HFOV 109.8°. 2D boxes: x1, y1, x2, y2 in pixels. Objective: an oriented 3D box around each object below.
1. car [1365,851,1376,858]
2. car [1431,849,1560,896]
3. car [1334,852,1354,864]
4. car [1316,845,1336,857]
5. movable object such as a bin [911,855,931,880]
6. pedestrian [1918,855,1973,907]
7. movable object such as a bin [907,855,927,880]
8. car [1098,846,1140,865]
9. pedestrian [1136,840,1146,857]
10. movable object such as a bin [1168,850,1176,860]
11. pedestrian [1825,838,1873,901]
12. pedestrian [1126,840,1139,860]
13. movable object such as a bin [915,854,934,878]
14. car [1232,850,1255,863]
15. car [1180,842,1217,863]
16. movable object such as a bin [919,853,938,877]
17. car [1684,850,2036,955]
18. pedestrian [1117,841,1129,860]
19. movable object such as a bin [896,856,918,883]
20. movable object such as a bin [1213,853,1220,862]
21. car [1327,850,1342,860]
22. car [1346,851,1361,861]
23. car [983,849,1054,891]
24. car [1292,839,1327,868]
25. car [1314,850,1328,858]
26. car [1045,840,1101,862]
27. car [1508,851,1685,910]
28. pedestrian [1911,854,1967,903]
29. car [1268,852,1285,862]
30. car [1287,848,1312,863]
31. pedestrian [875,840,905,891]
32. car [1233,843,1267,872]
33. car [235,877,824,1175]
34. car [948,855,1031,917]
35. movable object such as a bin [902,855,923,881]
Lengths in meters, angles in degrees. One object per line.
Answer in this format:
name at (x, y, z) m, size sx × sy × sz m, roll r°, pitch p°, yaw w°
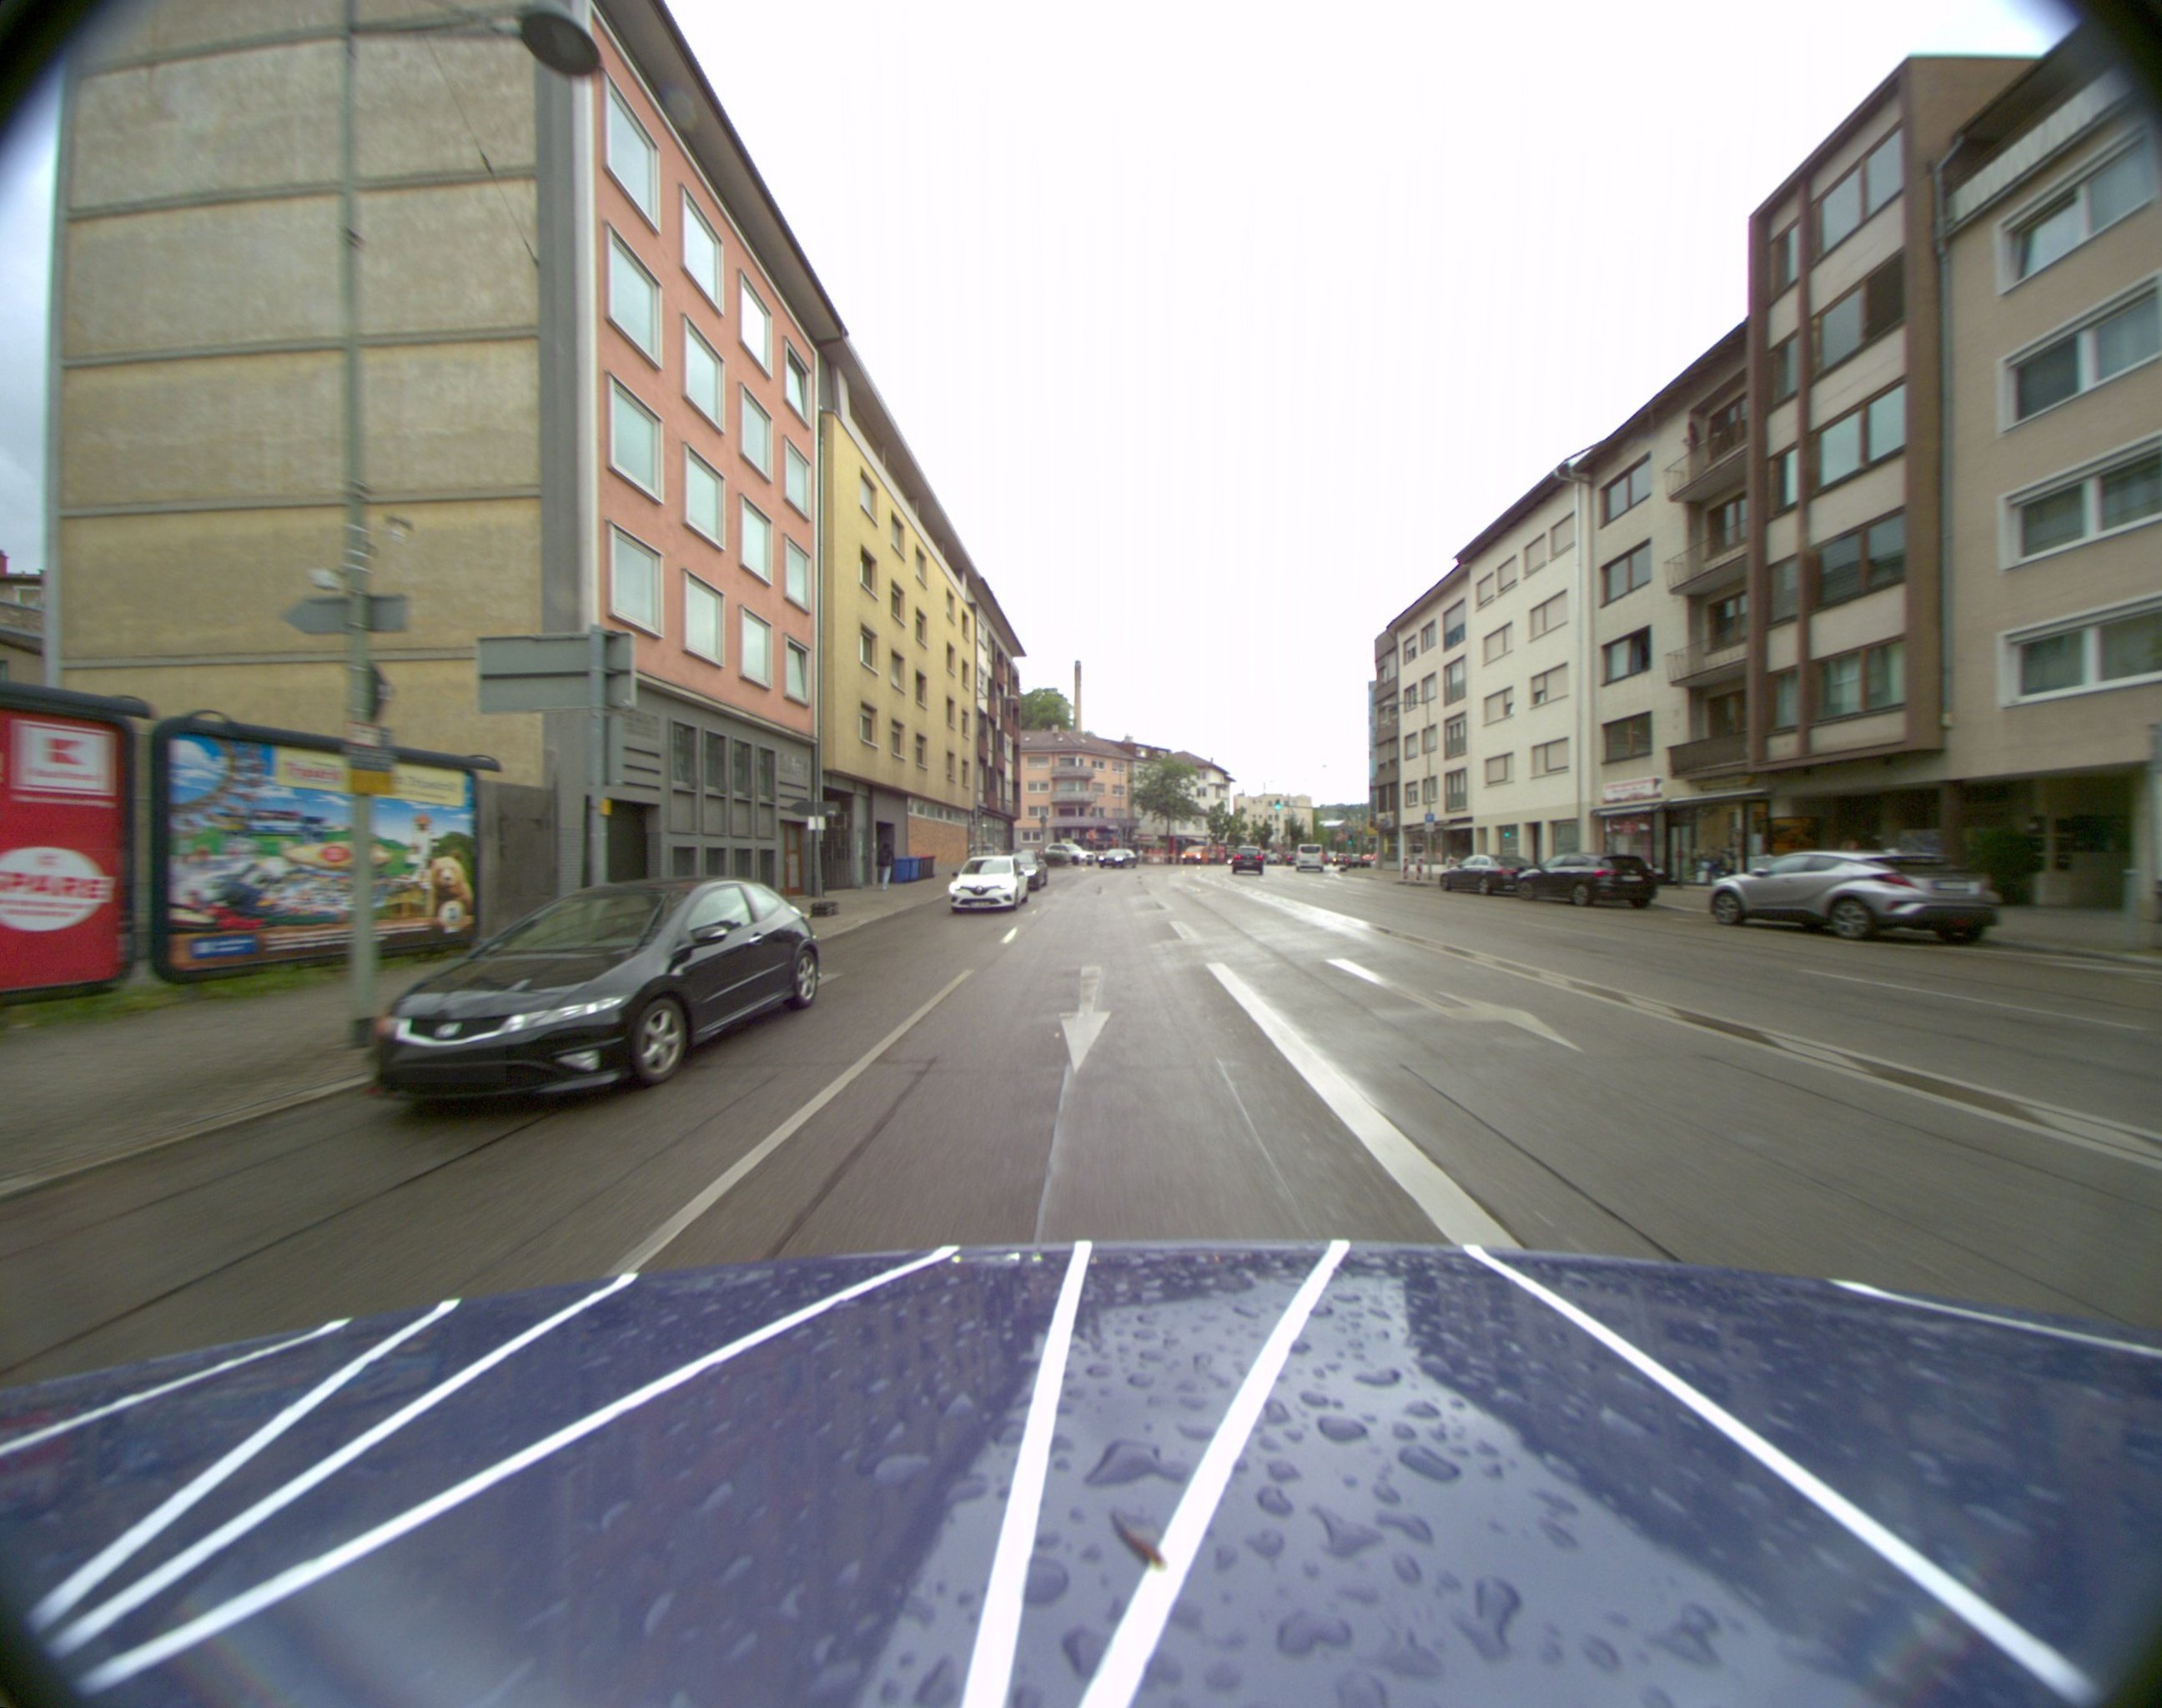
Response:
car at (59.979, 0.114, 157.340) m, size 1.773 × 1.515 × 4.291 m, roll 1°, pitch 0°, yaw 26°
car at (14.697, 0.597, 27.345) m, size 1.887 × 1.468 × 4.978 m, roll 1°, pitch 1°, yaw 0°
car at (32.111, 0.506, 92.769) m, size 1.723 × 1.391 × 3.602 m, roll -1°, pitch -2°, yaw 29°
car at (32.055, -0.433, 99.216) m, size 1.985 × 1.451 × 4.493 m, roll 2°, pitch 1°, yaw 24°
movable object such as a bin at (-7.028, 0.571, 33.366) m, size 0.682 × 1.070 × 0.668 m, roll 0°, pitch 1°, yaw 3°
pedestrian at (19.792, 0.606, 17.405) m, size 0.673 × 1.141 × 0.596 m, roll 0°, pitch 1°, yaw 30°
movable object such as a bin at (-7.062, 0.575, 32.673) m, size 0.682 × 1.070 × 0.668 m, roll 0°, pitch 1°, yaw 3°
car at (2.845, 0.126, 56.406) m, size 1.809 × 1.331 × 4.285 m, roll 1°, pitch -1°, yaw 22°
pedestrian at (6.792, -0.620, 86.303) m, size 0.991 × 1.869 × 0.658 m, roll 2°, pitch 3°, yaw 22°
movable object such as a bin at (9.563, 0.140, 79.811) m, size 0.621 × 1.025 × 0.532 m, roll 2°, pitch 0°, yaw 23°
pedestrian at (19.573, 0.377, 19.376) m, size 0.544 × 1.574 × 0.669 m, roll -1°, pitch 1°, yaw -11°
pedestrian at (4.709, -0.368, 69.624) m, size 0.920 × 1.851 × 1.029 m, roll 0°, pitch 3°, yaw -17°
movable object such as a bin at (-6.990, 0.546, 34.040) m, size 0.682 × 1.070 × 0.668 m, roll 0°, pitch 1°, yaw 3°
car at (19.703, 0.239, 92.017) m, size 1.840 × 1.433 × 4.007 m, roll -2°, pitch 0°, yaw 26°
car at (12.118, -0.187, 77.785) m, size 2.195 × 2.074 × 5.943 m, roll -1°, pitch 1°, yaw 24°
movable object such as a bin at (-6.963, 0.511, 34.726) m, size 0.682 × 1.070 × 0.668 m, roll 0°, pitch 1°, yaw 3°
car at (13.830, 0.729, 14.025) m, size 1.912 × 1.545 × 4.631 m, roll 1°, pitch 1°, yaw 4°
pedestrian at (3.808, -0.336, 68.547) m, size 0.822 × 1.679 × 0.792 m, roll -1°, pitch 3°, yaw -23°
movable object such as a bin at (-7.139, 0.621, 31.188) m, size 0.682 × 1.070 × 0.668 m, roll 0°, pitch 1°, yaw 3°
movable object such as a bin at (16.540, 0.388, 92.503) m, size 0.578 × 1.104 × 0.667 m, roll 2°, pitch 0°, yaw 30°
car at (38.047, 0.103, 113.964) m, size 1.826 × 1.358 × 4.610 m, roll 1°, pitch 1°, yaw 21°
car at (41.440, 0.260, 115.424) m, size 1.930 × 1.465 × 4.611 m, roll 3°, pitch 1°, yaw 22°
car at (-2.357, 0.571, 30.003) m, size 2.039 × 1.380 × 5.293 m, roll 0°, pitch 2°, yaw 4°
car at (17.325, -0.094, 57.770) m, size 2.122 × 2.003 × 5.132 m, roll -3°, pitch 1°, yaw 13°
car at (42.759, -0.031, 135.273) m, size 1.854 × 1.465 × 4.656 m, roll 1°, pitch 1°, yaw 25°
car at (-0.709, -0.281, 63.570) m, size 2.004 × 1.711 × 4.783 m, roll 1°, pitch 2°, yaw -41°
car at (14.582, 0.679, 21.881) m, size 1.999 × 1.468 × 4.517 m, roll 0°, pitch 1°, yaw 0°
pedestrian at (20.293, 0.570, 17.983) m, size 0.609 × 1.141 × 0.632 m, roll -1°, pitch 1°, yaw 3°
car at (29.073, 0.412, 112.976) m, size 1.810 × 1.334 × 4.006 m, roll -2°, pitch 0°, yaw 24°
car at (22.559, 0.175, 78.438) m, size 1.684 × 1.464 × 4.007 m, roll 3°, pitch 1°, yaw 26°
pedestrian at (-6.926, 0.409, 27.610) m, size 0.674 × 1.777 × 1.095 m, roll -1°, pitch 1°, yaw 5°
car at (10.163, 0.152, 45.938) m, size 1.865 × 1.637 × 4.257 m, roll 1°, pitch 1°, yaw 11°
car at (-3.823, 1.047, 6.340) m, size 1.788 × 1.488 × 4.057 m, roll -2°, pitch 0°, yaw 2°
car at (-2.438, 0.811, 21.186) m, size 1.680 × 1.395 × 3.999 m, roll -2°, pitch 1°, yaw 1°
movable object such as a bin at (-7.090, 0.596, 31.988) m, size 0.682 × 1.070 × 0.668 m, roll 0°, pitch 1°, yaw 3°
